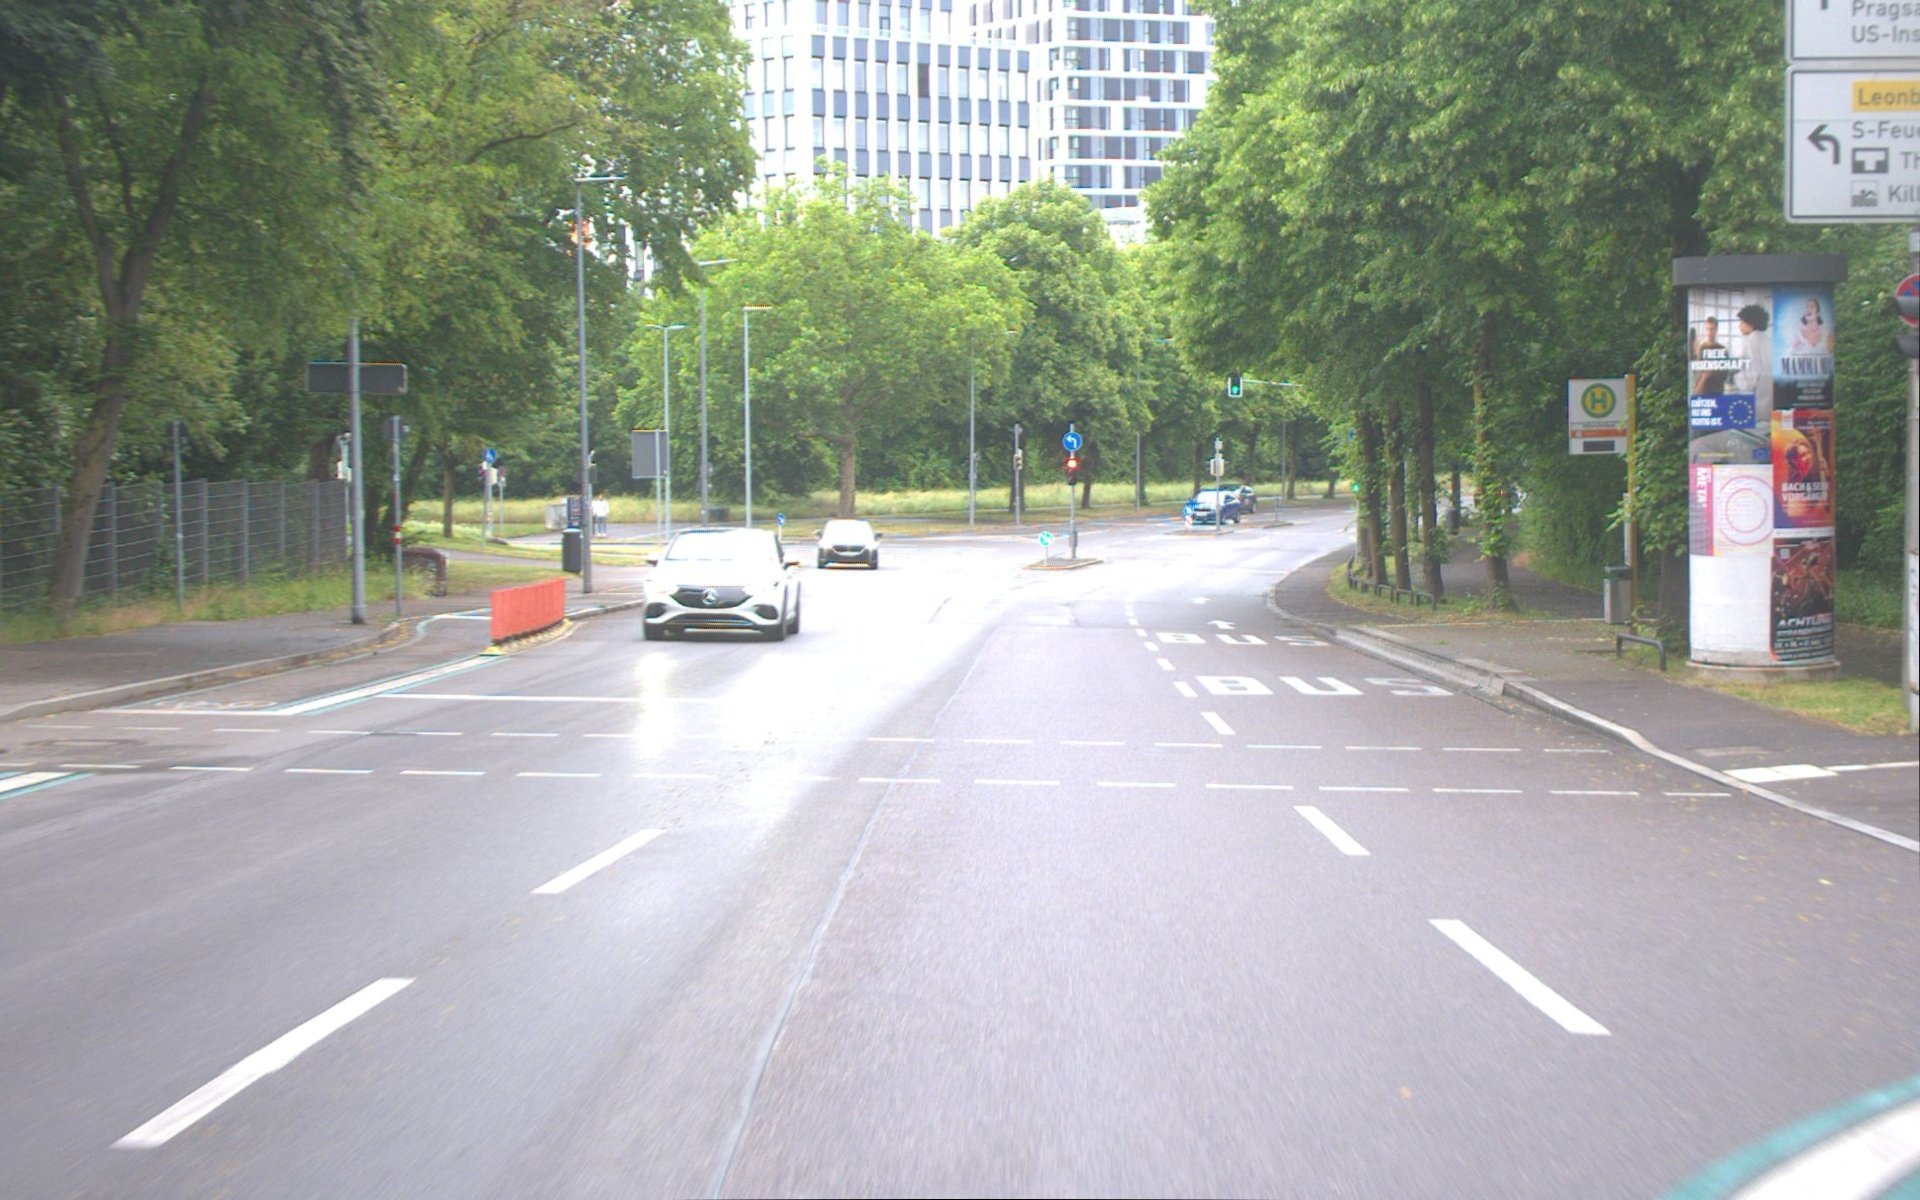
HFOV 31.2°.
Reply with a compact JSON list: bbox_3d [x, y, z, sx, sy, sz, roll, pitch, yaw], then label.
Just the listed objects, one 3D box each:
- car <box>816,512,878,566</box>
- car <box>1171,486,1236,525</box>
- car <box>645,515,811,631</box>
[{"bbox_3d":[-3.360,-1.846,102.835,1.602,1.437,4.000,1,3,2],"label":"car"},{"bbox_3d":[10.934,-4.234,154.120,1.995,1.679,3.997,1,1,18],"label":"car"},{"bbox_3d":[-3.138,-0.409,47.240,1.843,1.452,4.500,0,2,2],"label":"car"}]
